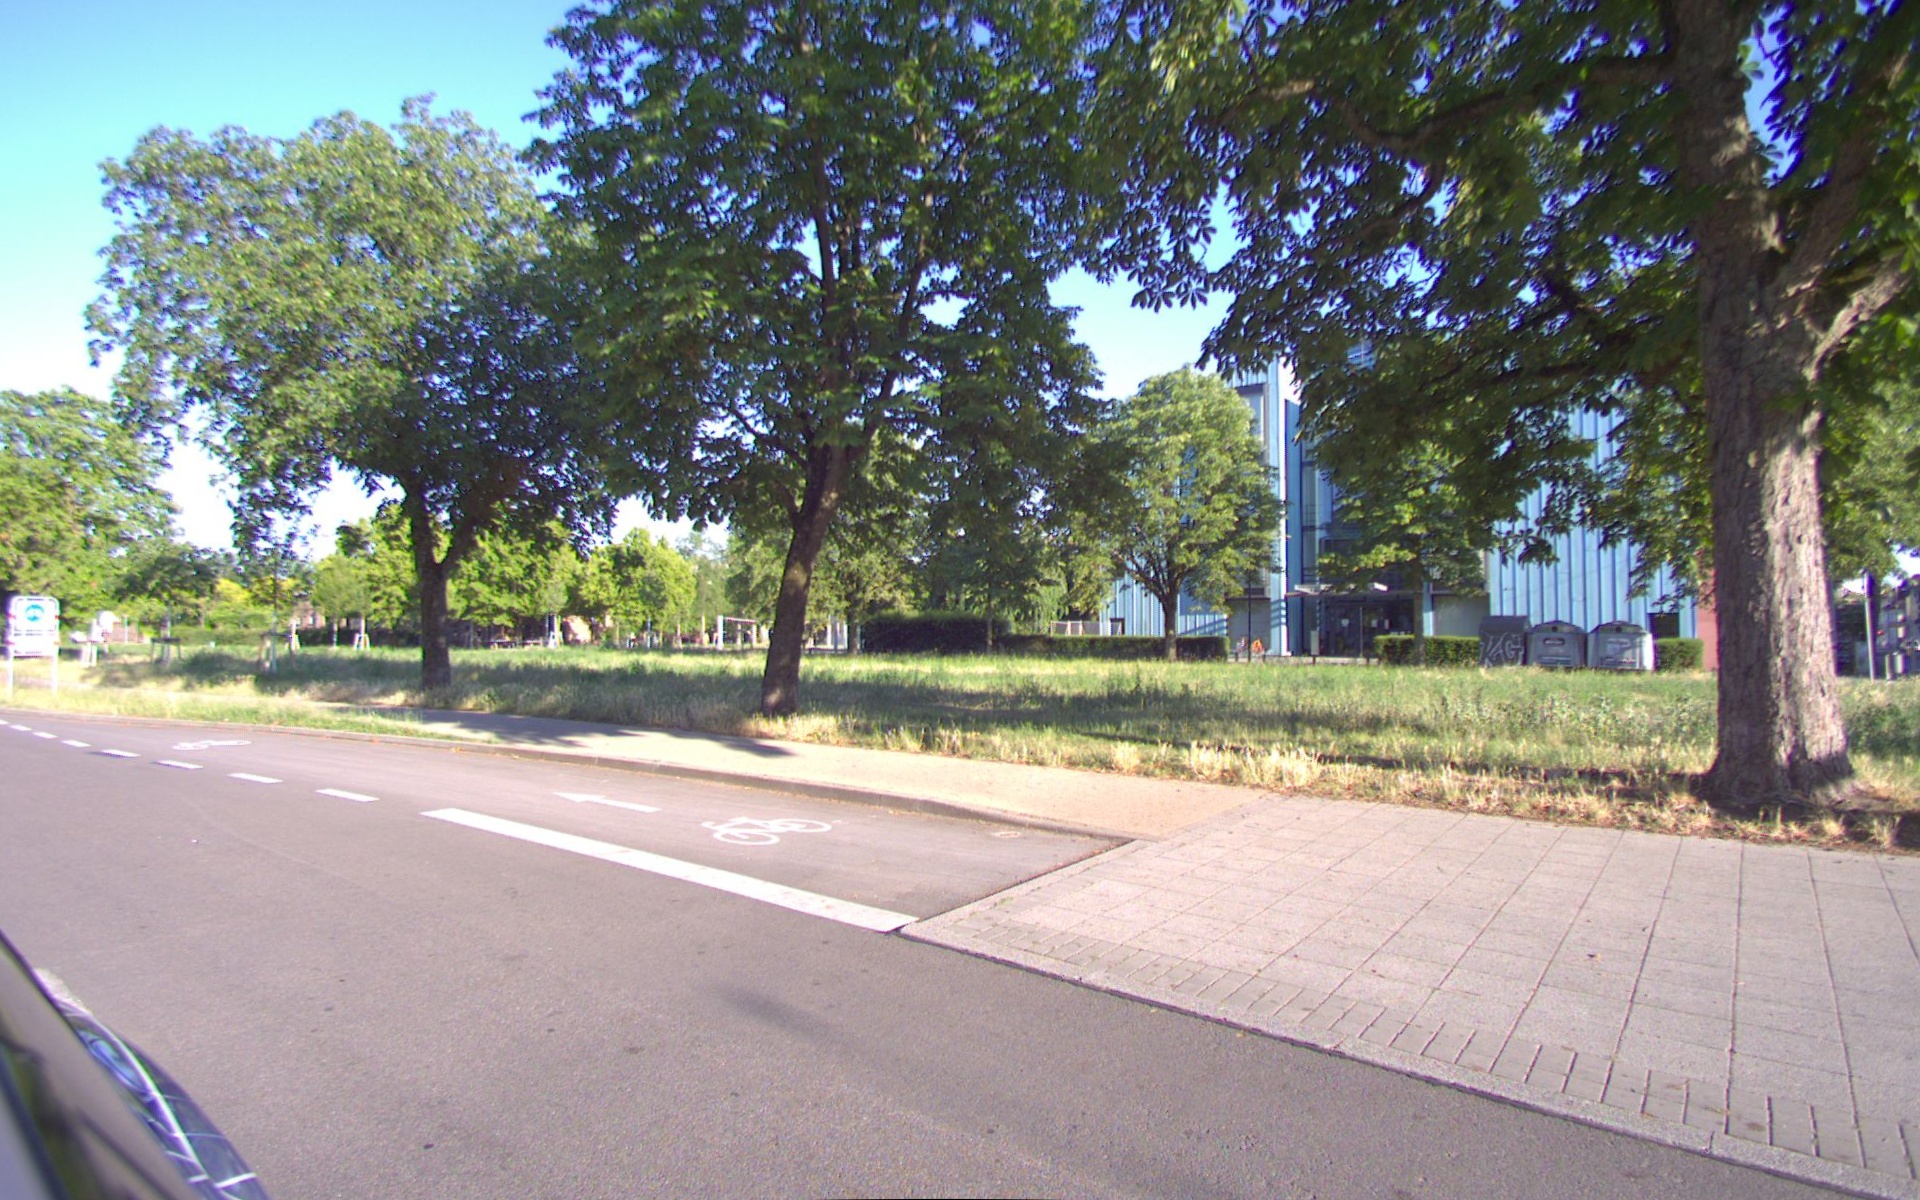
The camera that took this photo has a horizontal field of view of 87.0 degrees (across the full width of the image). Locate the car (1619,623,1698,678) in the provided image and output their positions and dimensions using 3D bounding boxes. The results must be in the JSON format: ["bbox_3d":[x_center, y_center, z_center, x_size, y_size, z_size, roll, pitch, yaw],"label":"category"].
[{"bbox_3d":[23.472,1.731,33.921,1.996,1.684,5.158,-1,-4,37],"label":"car"}]
